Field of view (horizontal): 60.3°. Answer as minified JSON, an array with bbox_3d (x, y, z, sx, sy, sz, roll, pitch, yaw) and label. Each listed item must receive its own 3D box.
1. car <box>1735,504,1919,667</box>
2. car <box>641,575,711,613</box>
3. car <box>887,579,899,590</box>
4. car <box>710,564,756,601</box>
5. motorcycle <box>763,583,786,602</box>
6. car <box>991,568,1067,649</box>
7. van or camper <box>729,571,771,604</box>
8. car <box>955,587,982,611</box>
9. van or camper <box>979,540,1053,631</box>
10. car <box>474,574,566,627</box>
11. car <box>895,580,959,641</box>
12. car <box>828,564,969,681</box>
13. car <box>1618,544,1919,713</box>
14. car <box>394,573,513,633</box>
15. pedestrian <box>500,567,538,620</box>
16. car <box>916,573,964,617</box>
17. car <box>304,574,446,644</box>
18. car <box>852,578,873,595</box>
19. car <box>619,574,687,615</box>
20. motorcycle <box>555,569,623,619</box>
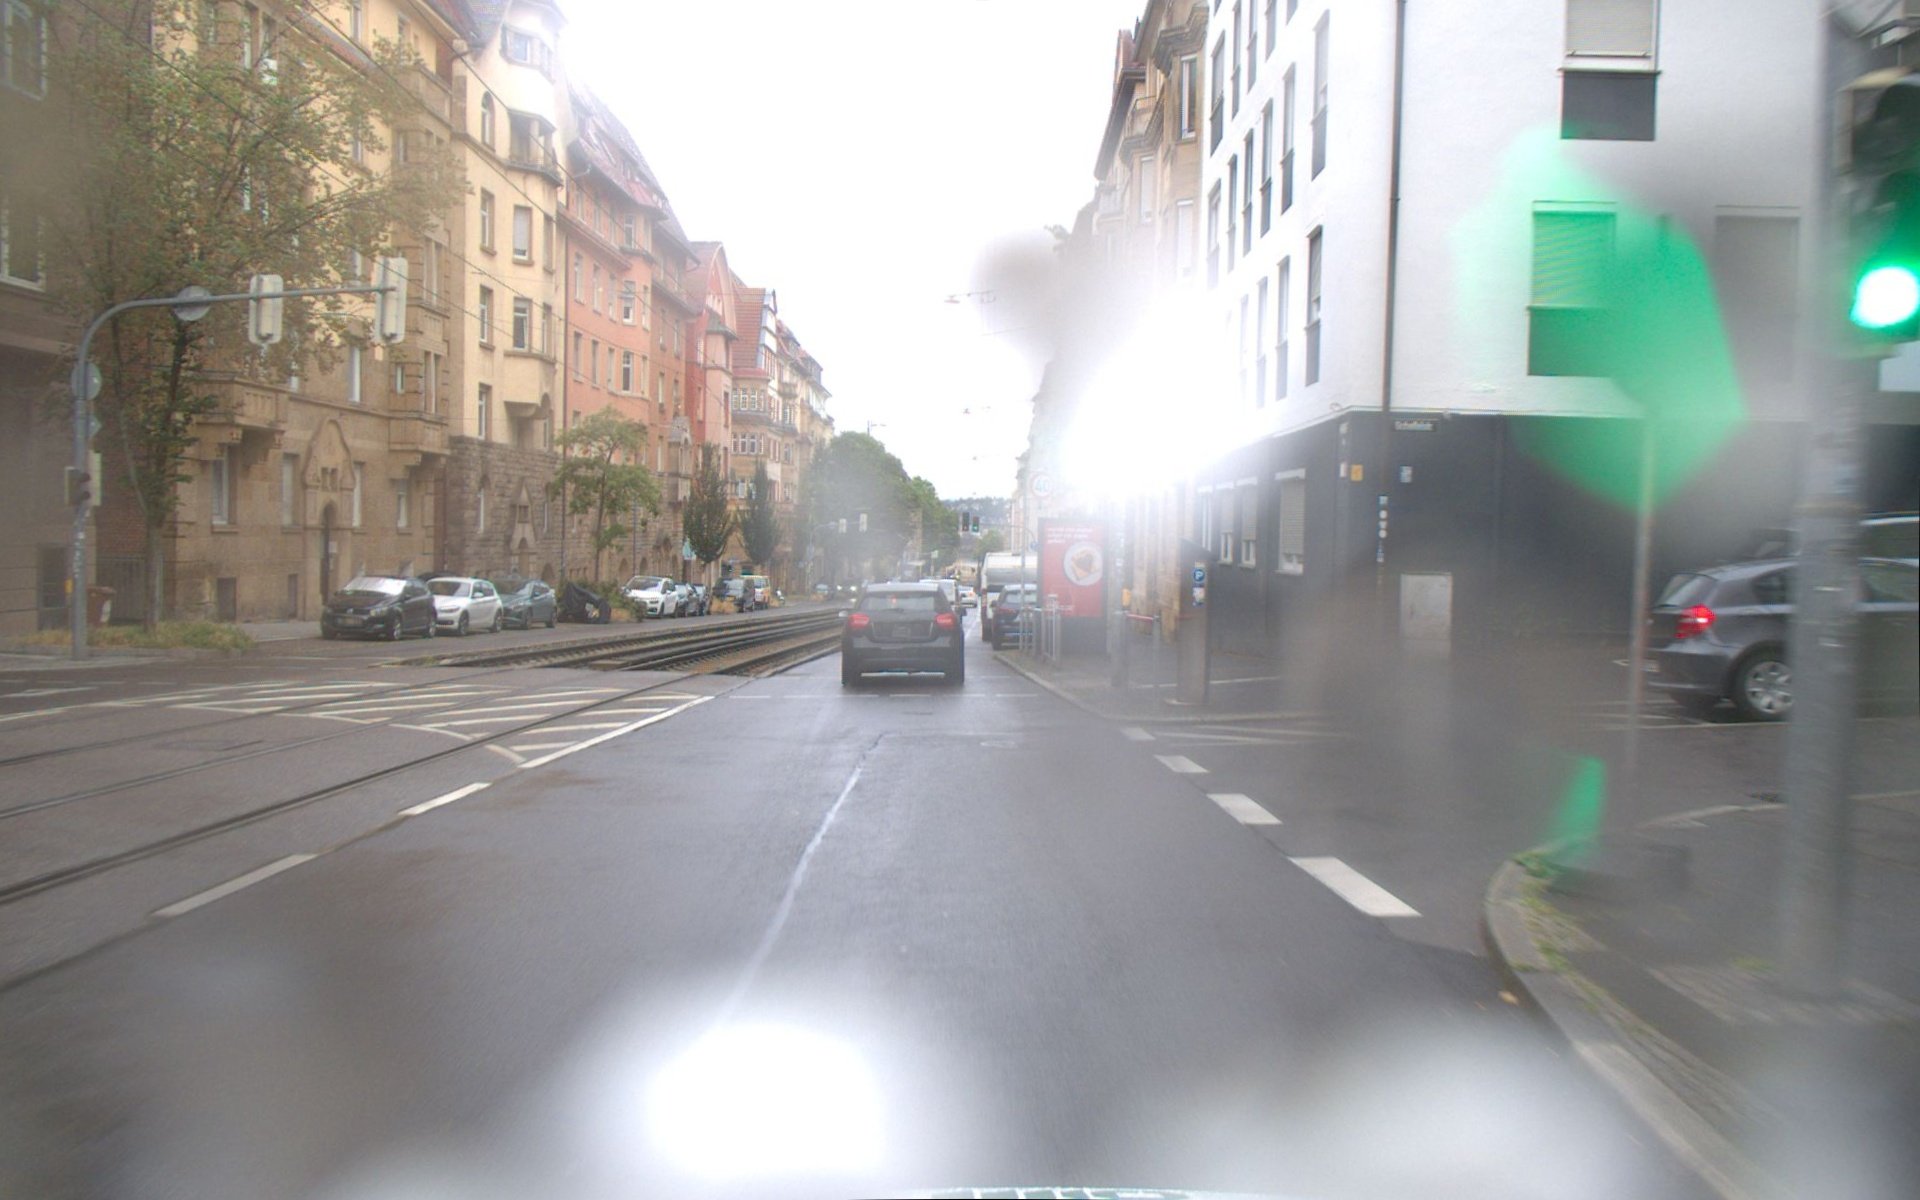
[{"bbox_3d":[11.094,-0.215,18.667,3.902,1.720,1.741,-1,3,7],"label":"car"},{"bbox_3d":[-12.664,-0.261,74.039,1.952,1.535,4.977,3,1,3],"label":"car"},{"bbox_3d":[-9.526,-2.228,235.059,1.759,1.575,3.998,1,0,-2],"label":"car"},{"bbox_3d":[-12.453,-0.944,90.939,1.953,1.934,4.698,1,0,-1],"label":"car"},{"bbox_3d":[-12.194,-0.497,108.951,1.410,1.154,0.618,2,0,31],"label":"motorcycle"},{"bbox_3d":[1.659,0.191,40.781,1.732,1.839,4.483,2,0,1],"label":"car"},{"bbox_3d":[-12.474,-0.756,98.606,1.953,1.934,4.698,0,1,-1],"label":"van or camper"},{"bbox_3d":[0.640,-0.067,119.129,1.863,1.621,4.000,0,-1,1],"label":"car"},{"bbox_3d":[1.647,-0.407,49.397,2.022,2.512,6.119,1,0,1],"label":"van or camper"},{"bbox_3d":[-13.105,-0.017,49.515,1.529,1.463,4.147,0,1,2],"label":"car"},{"bbox_3d":[-0.864,0.252,44.960,1.504,1.536,4.001,2,1,1],"label":"car"},{"bbox_3d":[-0.835,0.316,24.434,1.906,1.592,3.642,0,0,0],"label":"car"},{"bbox_3d":[8.376,0.218,15.282,3.904,1.439,1.762,-1,1,2],"label":"car"},{"bbox_3d":[-13.195,0.063,43.335,1.632,1.451,4.264,1,0,3],"label":"car"},{"bbox_3d":[-15.410,-0.232,57.857,0.986,1.784,0.924,3,0,1],"label":"pedestrian"},{"bbox_3d":[-0.849,-0.220,67.420,1.883,1.684,3.999,0,1,-2],"label":"car"},{"bbox_3d":[-13.454,0.207,38.274,1.728,1.512,4.001,1,0,2],"label":"car"},{"bbox_3d":[-10.664,-1.485,180.731,1.952,1.825,4.001,2,1,1],"label":"car"},{"bbox_3d":[-12.582,-0.238,68.060,1.747,1.617,4.353,0,0,4],"label":"car"},{"bbox_3d":[-12.914,-0.206,57.530,2.222,1.671,1.287,1,0,-16],"label":"motorcycle"}]
